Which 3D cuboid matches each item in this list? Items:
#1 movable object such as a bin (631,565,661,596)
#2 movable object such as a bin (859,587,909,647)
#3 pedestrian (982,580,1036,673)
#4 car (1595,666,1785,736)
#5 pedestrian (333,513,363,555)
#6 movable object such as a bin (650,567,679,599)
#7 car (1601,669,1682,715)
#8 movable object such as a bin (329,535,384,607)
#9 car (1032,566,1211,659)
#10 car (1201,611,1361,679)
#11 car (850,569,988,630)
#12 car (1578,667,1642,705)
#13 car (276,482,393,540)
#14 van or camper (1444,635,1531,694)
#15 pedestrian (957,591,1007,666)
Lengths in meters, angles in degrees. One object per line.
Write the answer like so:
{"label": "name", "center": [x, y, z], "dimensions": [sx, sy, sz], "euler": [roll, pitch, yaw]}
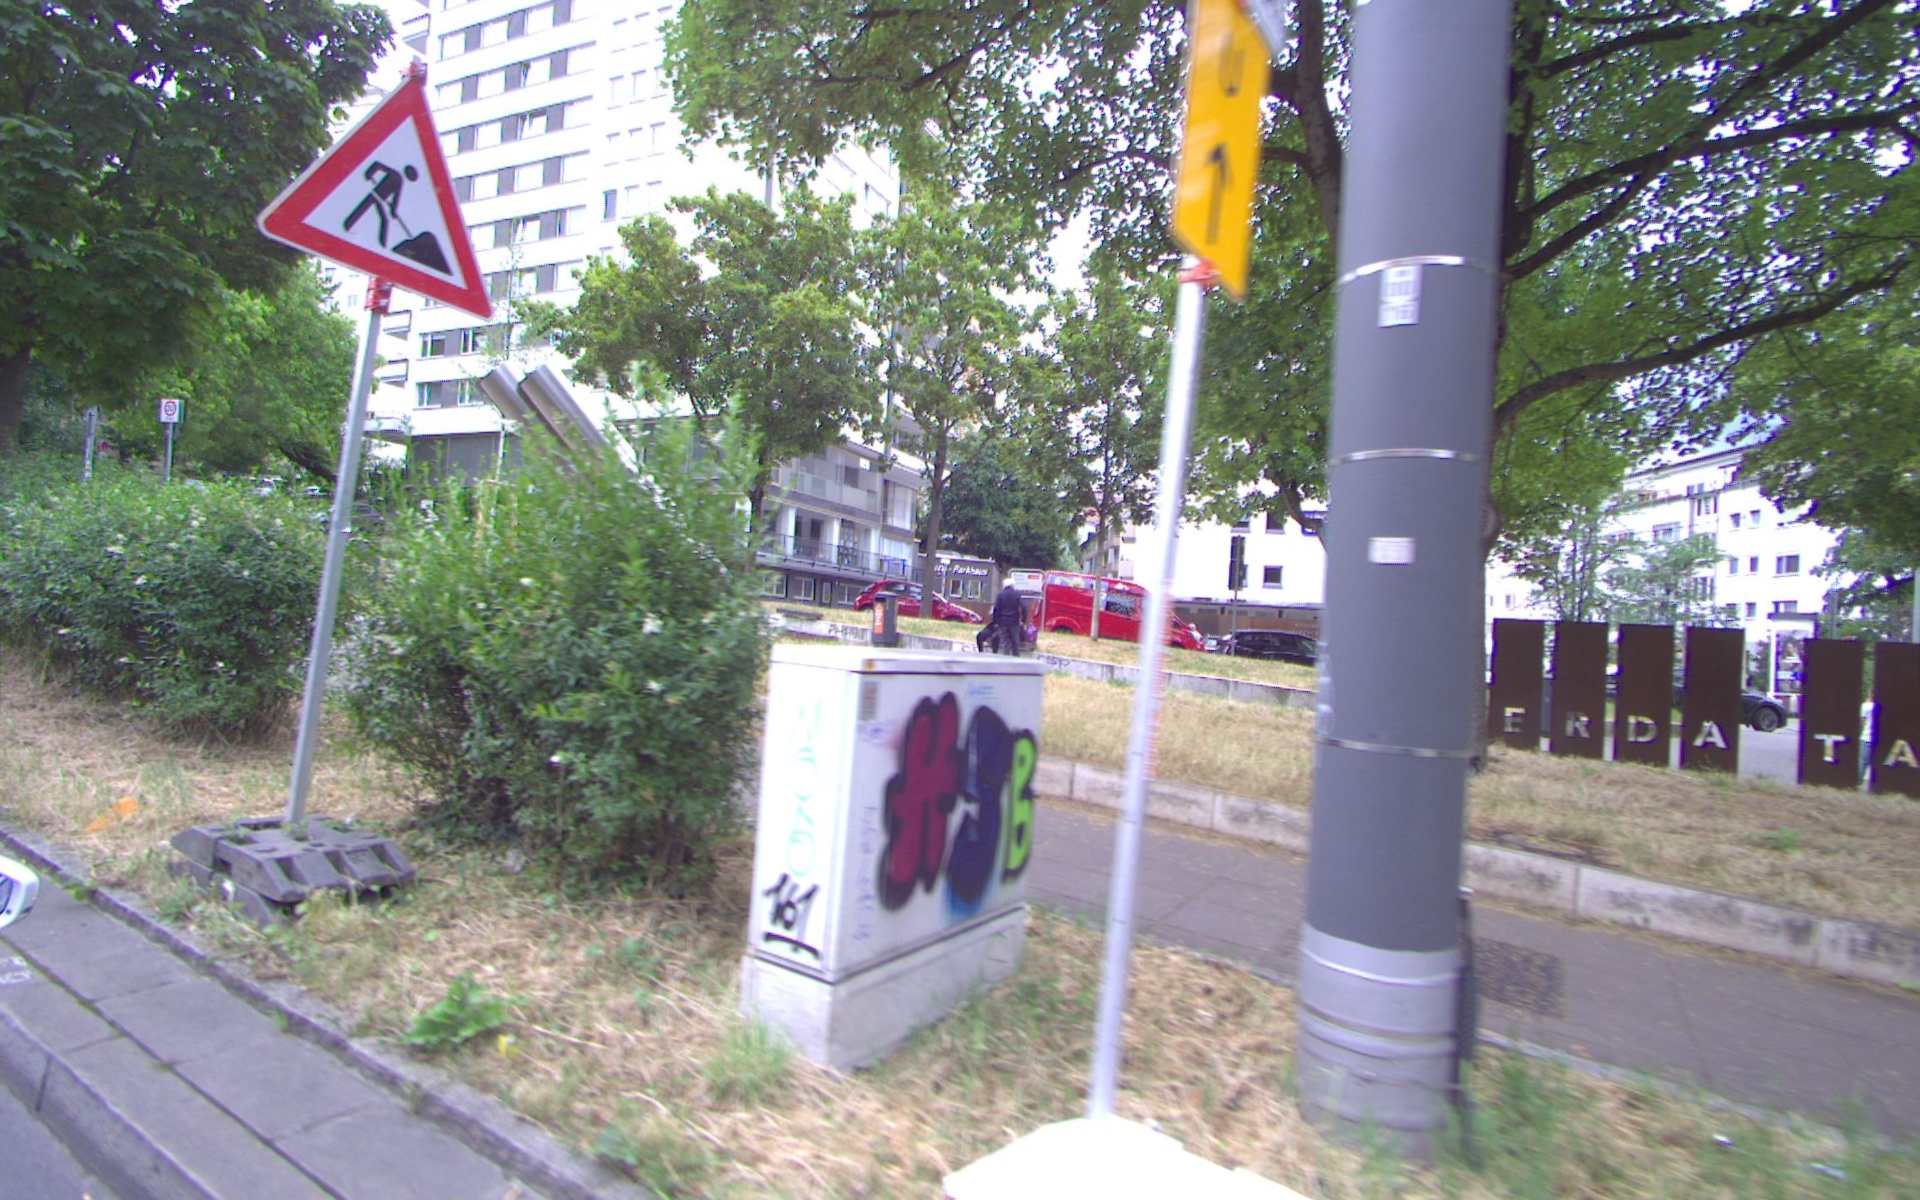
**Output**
{"label": "movable object such as a bin", "center": [-12.204, -0.745, 39.131], "dimensions": [0.700, 1.117, 0.824], "euler": [6, 1, 8]}
{"label": "movable object such as a bin", "center": [-1.498, 0.337, 19.858], "dimensions": [0.599, 1.094, 0.670], "euler": [4, -4, 32]}
{"label": "pedestrian", "center": [0.864, 0.465, 17.660], "dimensions": [0.609, 1.562, 0.549], "euler": [7, 1, 30]}
{"label": "car", "center": [21.019, 2.891, 29.102], "dimensions": [4.070, 1.514, 1.757], "euler": [6, -4, 6]}
{"label": "pedestrian", "center": [-23.711, -2.555, 38.975], "dimensions": [0.665, 1.519, 0.559], "euler": [6, 1, 6]}
{"label": "movable object such as a bin", "center": [-11.490, -0.658, 39.135], "dimensions": [0.700, 1.117, 0.824], "euler": [6, 1, 8]}
{"label": "car", "center": [32.408, 4.418, 48.005], "dimensions": [1.963, 1.906, 4.471], "euler": [5, -4, 19]}
{"label": "movable object such as a bin", "center": [-9.890, -0.473, 16.493], "dimensions": [0.556, 1.108, 0.494], "euler": [7, 1, 32]}
{"label": "car", "center": [4.701, 0.414, 29.872], "dimensions": [4.888, 2.050, 2.033], "euler": [7, -3, 4]}
{"label": "car", "center": [9.389, 1.362, 29.669], "dimensions": [4.071, 1.524, 1.756], "euler": [6, -4, 4]}
{"label": "car", "center": [-1.169, -0.006, 30.040], "dimensions": [3.848, 1.293, 1.623], "euler": [6, -4, 4]}
{"label": "car", "center": [34.631, 4.609, 53.670], "dimensions": [1.589, 1.821, 3.673], "euler": [5, -4, 13]}
{"label": "car", "center": [-29.134, -4.104, 46.984], "dimensions": [1.964, 2.039, 4.140], "euler": [7, 0, 24]}
{"label": "van or camper", "center": [23.618, 2.967, 45.293], "dimensions": [2.257, 2.254, 5.451], "euler": [5, -4, 16]}
{"label": "pedestrian", "center": [0.418, 0.530, 18.680], "dimensions": [0.609, 1.317, 0.549], "euler": [7, 1, 30]}
